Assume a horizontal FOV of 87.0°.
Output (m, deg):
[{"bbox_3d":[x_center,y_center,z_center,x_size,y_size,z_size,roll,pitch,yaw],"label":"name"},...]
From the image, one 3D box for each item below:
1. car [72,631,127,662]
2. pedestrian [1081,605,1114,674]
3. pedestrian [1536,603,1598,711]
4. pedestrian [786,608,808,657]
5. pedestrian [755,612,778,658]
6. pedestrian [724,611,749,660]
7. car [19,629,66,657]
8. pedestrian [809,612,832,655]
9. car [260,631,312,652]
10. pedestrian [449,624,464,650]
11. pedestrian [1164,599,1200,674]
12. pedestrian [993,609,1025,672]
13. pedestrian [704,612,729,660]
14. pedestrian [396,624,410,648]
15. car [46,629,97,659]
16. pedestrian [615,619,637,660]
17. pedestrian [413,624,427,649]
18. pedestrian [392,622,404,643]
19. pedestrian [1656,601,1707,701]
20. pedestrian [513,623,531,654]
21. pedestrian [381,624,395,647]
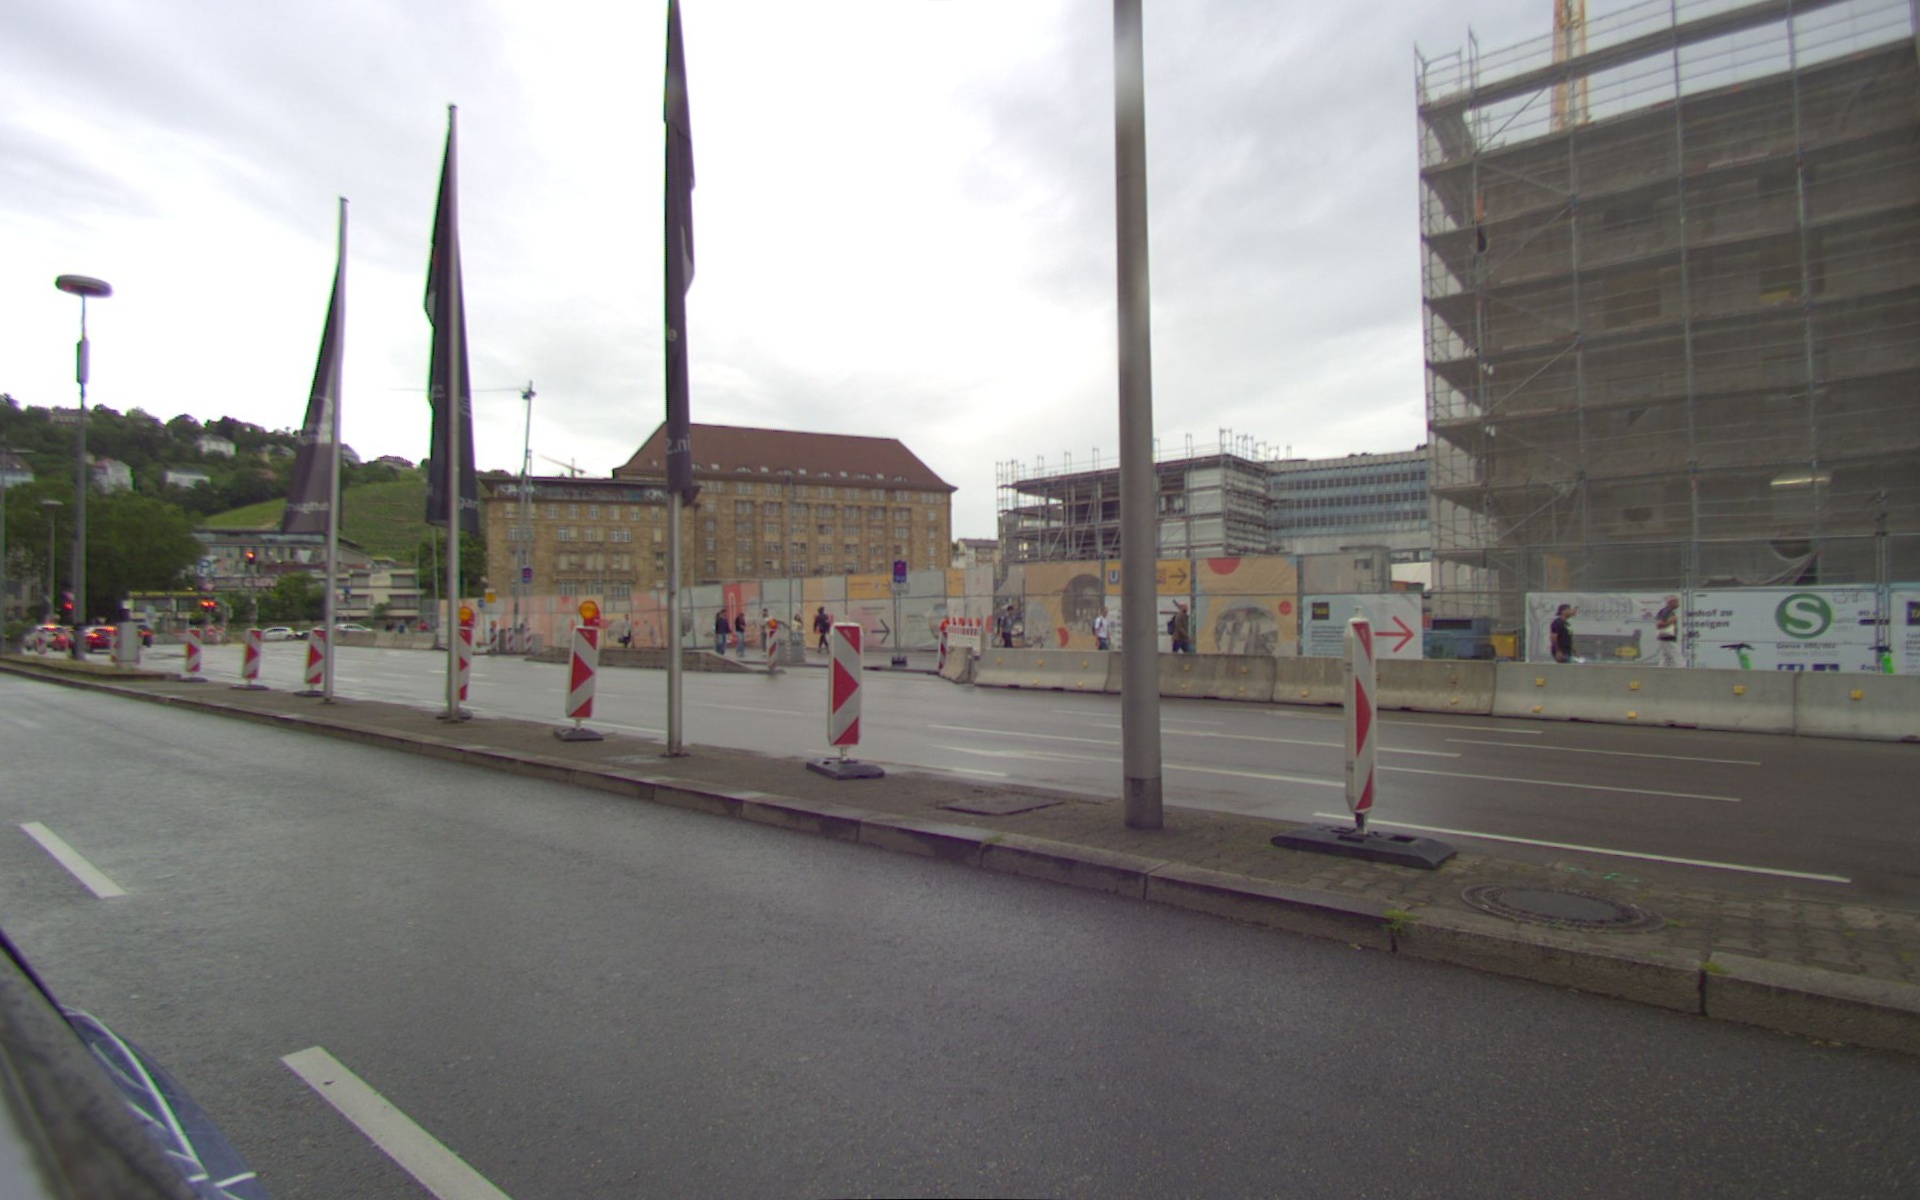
[{"bbox_3d":[-48.588,2.585,57.126,3.914,1.707,1.762,-2,-2,41],"label":"car"},{"bbox_3d":[3.774,1.073,27.756,0.717,1.850,0.475,-1,0,41],"label":"pedestrian"},{"bbox_3d":[10.720,0.981,17.879,0.819,1.850,0.572,-1,0,41],"label":"pedestrian"},{"bbox_3d":[-6.234,1.242,38.694,0.651,1.850,0.557,-1,0,-29],"label":"pedestrian"},{"bbox_3d":[-7.391,1.327,38.730,0.704,1.757,0.565,-1,0,-29],"label":"pedestrian"},{"bbox_3d":[-8.671,1.370,39.237,0.704,1.850,0.719,-1,0,-31],"label":"pedestrian"},{"bbox_3d":[-59.681,2.746,65.811,3.913,1.707,1.763,-1,0,40],"label":"car"},{"bbox_3d":[-5.448,1.294,39.529,0.544,1.628,0.706,-1,0,41],"label":"pedestrian"},{"bbox_3d":[-68.805,4.211,103.324,4.136,1.871,1.833,-1,0,-44],"label":"car"},{"bbox_3d":[-32.183,2.334,64.650,0.544,1.628,0.706,-1,0,41],"label":"pedestrian"},{"bbox_3d":[5.573,0.895,25.418,0.717,1.850,0.475,-1,0,41],"label":"pedestrian"},{"bbox_3d":[1.446,1.188,30.011,0.717,1.850,0.579,-1,0,41],"label":"pedestrian"},{"bbox_3d":[-9.081,1.325,37.798,0.704,1.746,0.719,-1,0,-31],"label":"pedestrian"},{"bbox_3d":[-37.934,2.447,68.937,0.544,1.628,0.706,-1,0,41],"label":"pedestrian"},{"bbox_3d":[-54.359,2.651,61.881,3.913,1.707,1.763,-1,0,40],"label":"car"},{"bbox_3d":[-15.388,1.824,46.657,0.720,1.850,0.656,-1,0,41],"label":"pedestrian"},{"bbox_3d":[-36.562,2.480,68.517,0.544,1.628,0.706,-1,0,41],"label":"pedestrian"},{"bbox_3d":[-44.248,2.562,79.712,0.544,1.628,0.706,-1,0,41],"label":"pedestrian"},{"bbox_3d":[13.697,0.954,19.217,0.717,1.850,0.475,-1,0,41],"label":"pedestrian"},{"bbox_3d":[-23.593,2.077,54.504,0.544,1.628,0.706,-1,0,41],"label":"pedestrian"},{"bbox_3d":[-41.924,2.592,74.191,0.544,1.628,0.706,-1,0,41],"label":"pedestrian"}]
